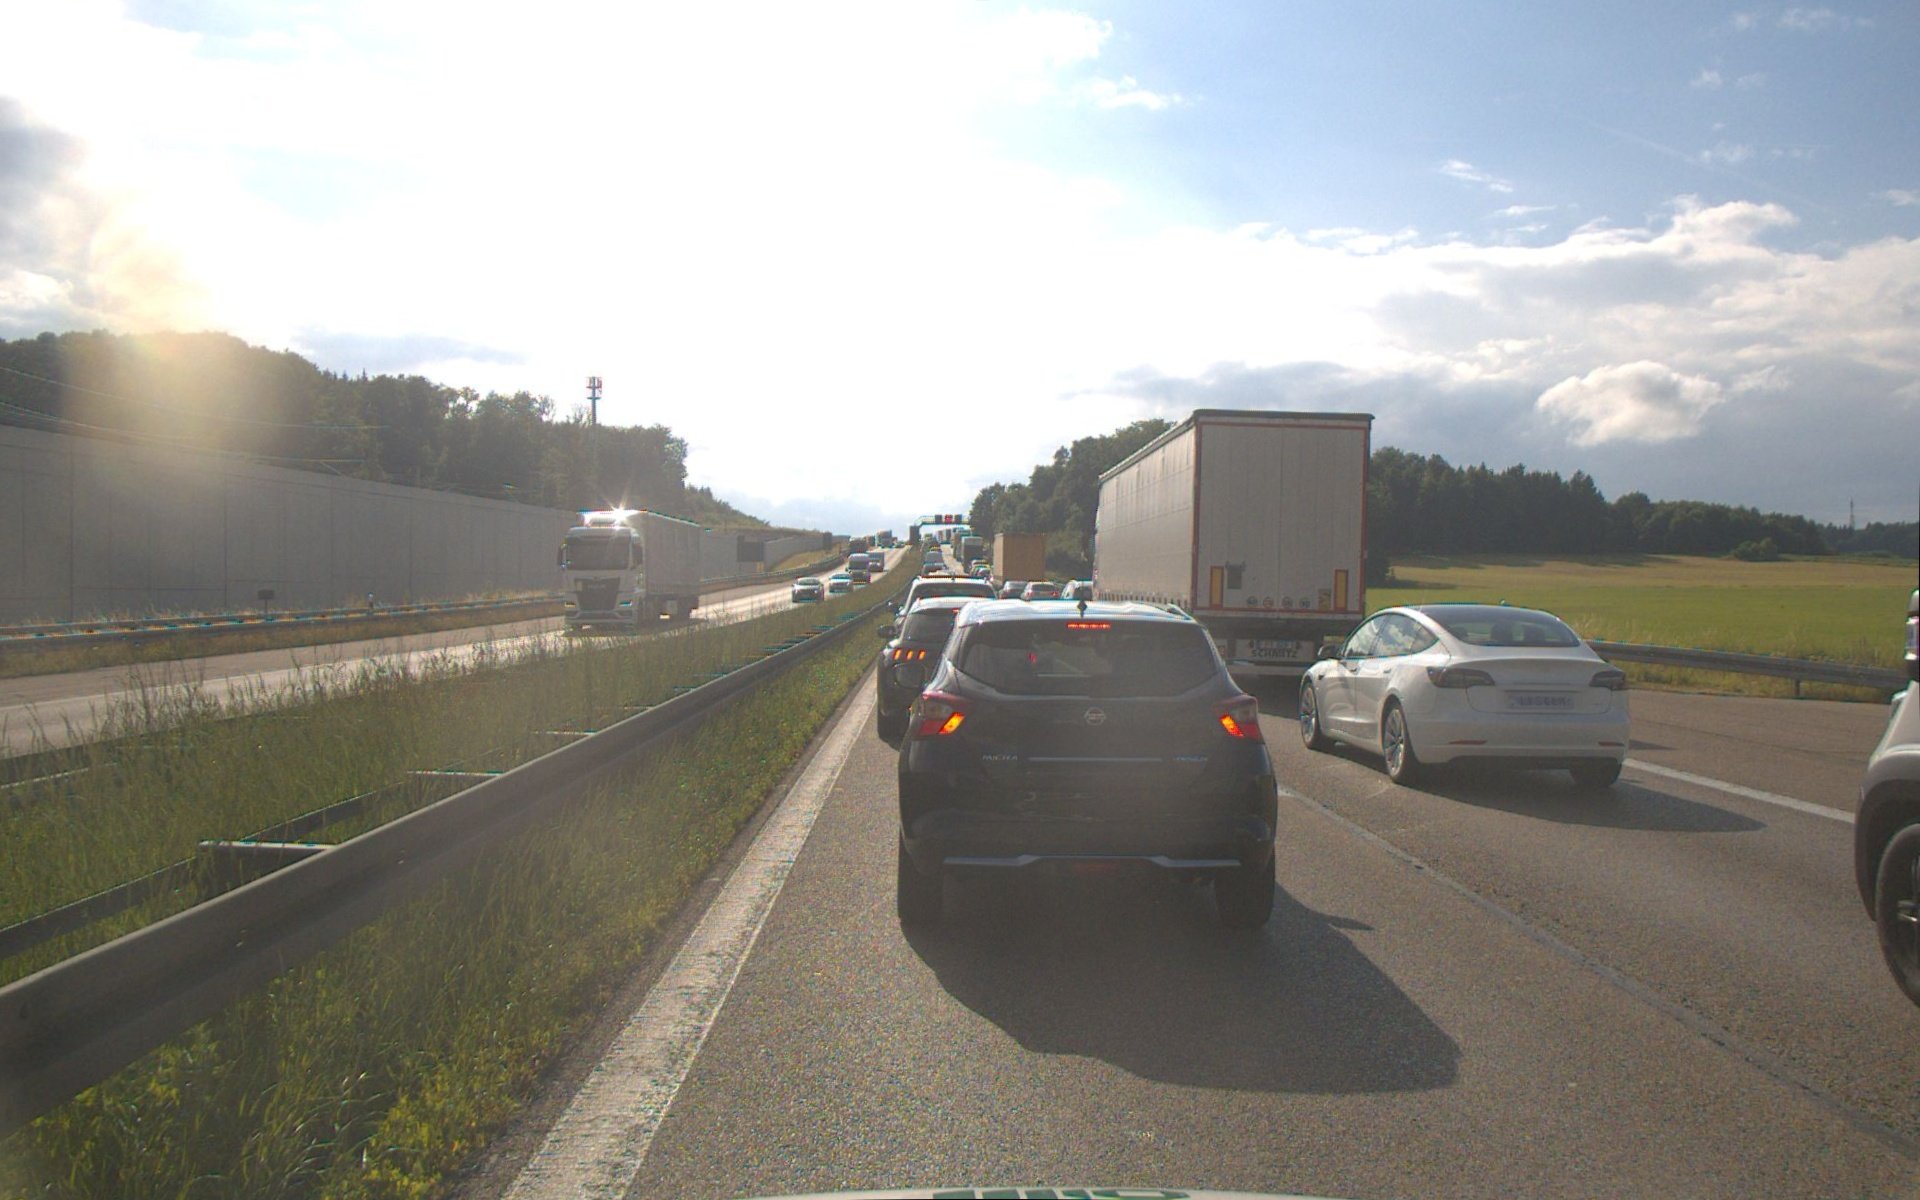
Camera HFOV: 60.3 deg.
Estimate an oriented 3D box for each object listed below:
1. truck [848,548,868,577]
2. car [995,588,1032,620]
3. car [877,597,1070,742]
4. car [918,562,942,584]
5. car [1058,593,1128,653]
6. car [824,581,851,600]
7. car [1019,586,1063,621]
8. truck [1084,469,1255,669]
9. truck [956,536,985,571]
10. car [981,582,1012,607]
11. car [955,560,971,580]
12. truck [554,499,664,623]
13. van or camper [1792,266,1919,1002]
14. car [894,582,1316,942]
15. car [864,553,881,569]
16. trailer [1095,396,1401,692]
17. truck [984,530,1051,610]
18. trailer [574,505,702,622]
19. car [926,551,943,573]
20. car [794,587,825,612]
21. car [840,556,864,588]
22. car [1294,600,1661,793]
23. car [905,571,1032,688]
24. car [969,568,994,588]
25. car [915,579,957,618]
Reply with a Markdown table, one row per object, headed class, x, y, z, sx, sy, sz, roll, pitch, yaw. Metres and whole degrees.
| class | x | y | z | sx | sy | sz | roll | pitch | yaw |
| --- | --- | --- | --- | --- | --- | --- | --- | --- | --- |
| truck | -14.562 | -5.366 | 237.258 | 2.530 | 3.991 | 5.721 | -1 | 0 | -1 |
| car | 2.891 | 0.174 | 89.910 | 1.835 | 1.673 | 4.232 | 0 | 1 | -1 |
| car | 0.106 | 0.660 | 17.882 | 1.835 | 1.381 | 4.231 | 0 | 0 | -1 |
| car | -2.445 | -2.199 | 132.648 | 1.835 | 1.673 | 4.231 | 0 | 2 | -2 |
| car | 3.761 | 0.624 | 47.224 | 1.663 | 1.639 | 4.437 | 0 | 0 | 0 |
| car | -9.423 | -0.722 | 127.135 | 1.835 | 1.476 | 4.231 | 0 | 0 | -1 |
| car | 3.908 | 0.159 | 80.347 | 1.835 | 1.673 | 4.231 | 0 | 0 | -1 |
| truck | 4.522 | -0.611 | 36.765 | 3.069 | 4.086 | 5.163 | 1 | -1 | 0 |
| truck | 1.339 | -6.434 | 228.354 | 3.395 | 4.656 | 12.437 | 1 | 1 | -2 |
| car | 2.520 | -0.404 | 114.179 | 1.836 | 1.673 | 4.230 | 0 | 1 | -3 |
| car | 0.401 | -3.710 | 202.598 | 1.835 | 2.196 | 5.211 | 0 | 3 | -1 |
| truck | -12.417 | -1.331 | 58.892 | 2.720 | 4.159 | 5.530 | -2 | 0 | -1 |
| van or camper | 4.672 | 0.132 | 3.916 | 2.170 | 2.728 | 6.331 | 0 | 0 | -1 |
| car | 0.575 | 0.663 | 8.933 | 1.737 | 1.476 | 4.231 | 0 | 0 | -1 |
| car | -10.734 | -4.722 | 202.933 | 1.872 | 1.701 | 4.360 | 0 | -2 | -2 |
| trailer | 4.572 | -0.700 | 29.808 | 3.067 | 4.081 | 13.364 | 1 | -1 | 0 |
| truck | 3.449 | -1.736 | 103.221 | 3.230 | 4.657 | 12.434 | 1 | 0 | -2 |
| trailer | -12.590 | -1.319 | 66.015 | 2.734 | 4.148 | 13.516 | -1 | 0 | -1 |
| car | -2.758 | -4.113 | 176.722 | 1.835 | 2.196 | 5.211 | 0 | 3 | -1 |
| car | -9.096 | -0.046 | 100.286 | 1.618 | 1.476 | 3.955 | 0 | 0 | -1 |
| car | -10.076 | -2.632 | 154.960 | 2.061 | 2.920 | 5.635 | 0 | 0 | -1 |
| car | 4.351 | 0.728 | 14.684 | 1.752 | 1.418 | 4.435 | 0 | 0 | -2 |
| car | 0.098 | 0.423 | 25.950 | 1.835 | 1.673 | 4.231 | 0 | 0 | -1 |
| car | 1.893 | -1.915 | 145.539 | 1.836 | 1.673 | 4.229 | 0 | 2 | -4 |
| car | -1.063 | -0.086 | 74.004 | 1.835 | 1.673 | 4.232 | 0 | 1 | -1 |
